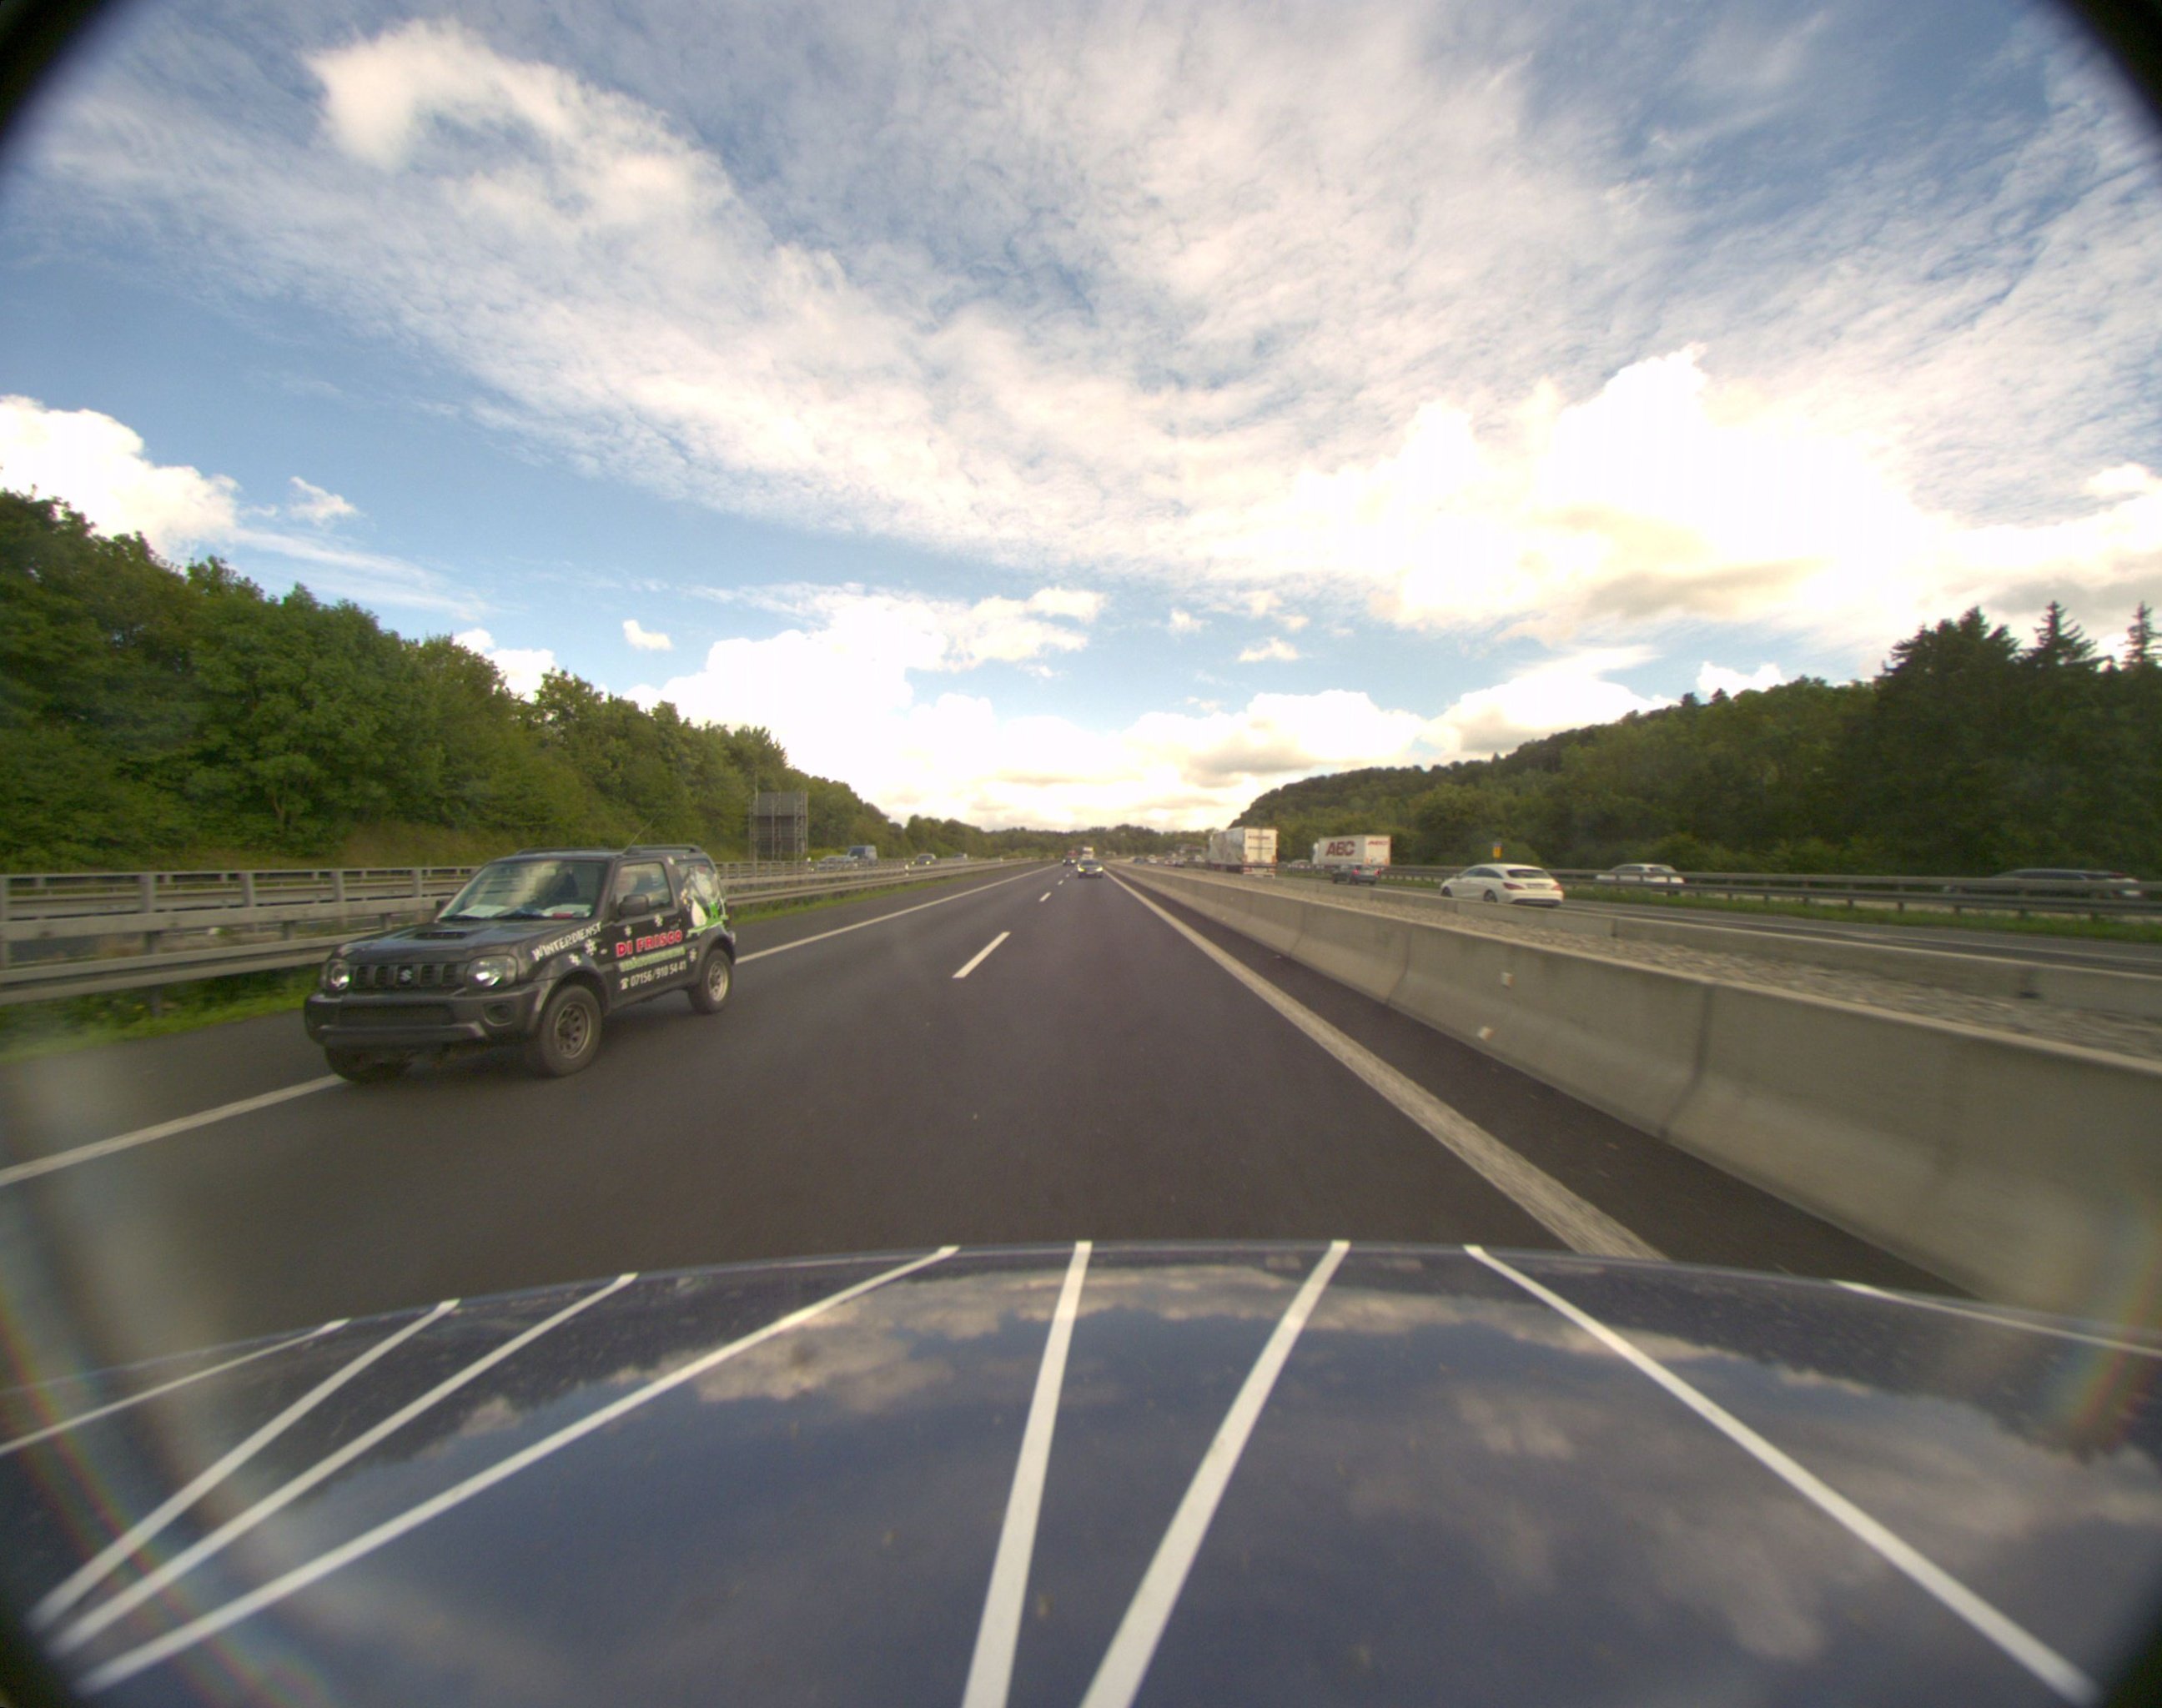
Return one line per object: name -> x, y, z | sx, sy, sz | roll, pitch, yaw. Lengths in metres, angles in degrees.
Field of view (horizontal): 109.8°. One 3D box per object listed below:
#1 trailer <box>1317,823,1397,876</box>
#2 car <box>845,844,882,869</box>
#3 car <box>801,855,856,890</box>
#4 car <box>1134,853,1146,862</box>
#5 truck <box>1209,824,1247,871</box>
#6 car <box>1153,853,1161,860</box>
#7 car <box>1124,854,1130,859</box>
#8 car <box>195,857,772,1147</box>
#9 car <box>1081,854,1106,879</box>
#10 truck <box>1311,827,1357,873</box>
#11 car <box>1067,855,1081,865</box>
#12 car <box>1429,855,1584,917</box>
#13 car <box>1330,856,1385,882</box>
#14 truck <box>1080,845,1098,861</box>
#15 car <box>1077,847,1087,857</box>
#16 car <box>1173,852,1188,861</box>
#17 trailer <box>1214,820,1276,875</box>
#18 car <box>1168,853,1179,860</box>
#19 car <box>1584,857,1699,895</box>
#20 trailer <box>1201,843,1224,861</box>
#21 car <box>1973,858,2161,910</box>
trailer -> 29.145, -0.457, 81.235 | 3.116, 5.130, 14.717 | 1, 1, 0
car -> -20.274, 0.210, 71.178 | 1.999, 2.173, 5.127 | -1, 1, 0
car -> -15.413, 1.091, 46.646 | 1.998, 2.002, 4.000 | 1, 1, 1
car -> 11.015, 0.608, 141.812 | 1.852, 1.486, 4.972 | 1, 0, 1
truck -> 13.512, -0.611, 70.371 | 2.494, 4.105, 5.298 | 1, 1, 1
car -> 19.990, 0.694, 200.774 | 1.802, 1.621, 4.754 | 1, 1, 2
car -> 14.319, 0.691, 237.344 | 1.754, 1.621, 4.841 | 1, 1, 2
car -> -4.510, 0.913, 6.746 | 1.670, 1.722, 4.207 | 0, 0, 2
car -> 0.966, 0.886, 55.416 | 1.724, 1.722, 3.939 | 0, 1, 2
truck -> 29.162, -0.491, 87.954 | 3.033, 5.112, 6.628 | 1, 1, 0
car -> -1.144, 0.975, 127.961 | 1.997, 1.591, 4.002 | 1, 1, 6
car -> 12.824, 0.884, 23.356 | 1.998, 1.608, 5.002 | 1, 0, 1
car -> 18.725, 1.009, 51.698 | 1.998, 1.608, 5.002 | 1, 0, 1
truck -> 2.313, -0.399, 212.281 | 4.948, 4.306, 14.629 | 1, 0, 1
car -> 0.165, -0.396, 162.956 | 1.998, 2.002, 4.000 | 1, 1, 0
car -> 17.519, 0.502, 133.857 | 1.947, 1.486, 5.306 | 1, 0, 1
trailer -> 13.406, -0.549, 63.422 | 2.494, 4.105, 13.282 | 1, 0, 1
car -> 19.858, 0.515, 163.055 | 1.649, 1.486, 4.996 | 1, 0, 1
car -> 26.392, 0.990, 36.042 | 1.998, 1.608, 4.708 | 1, 1, 1
trailer -> 30.630, -0.558, 177.996 | 3.159, 4.069, 13.386 | 1, 0, 1
car -> 34.654, 0.991, 26.581 | 1.805, 1.608, 4.301 | 1, 1, 1
